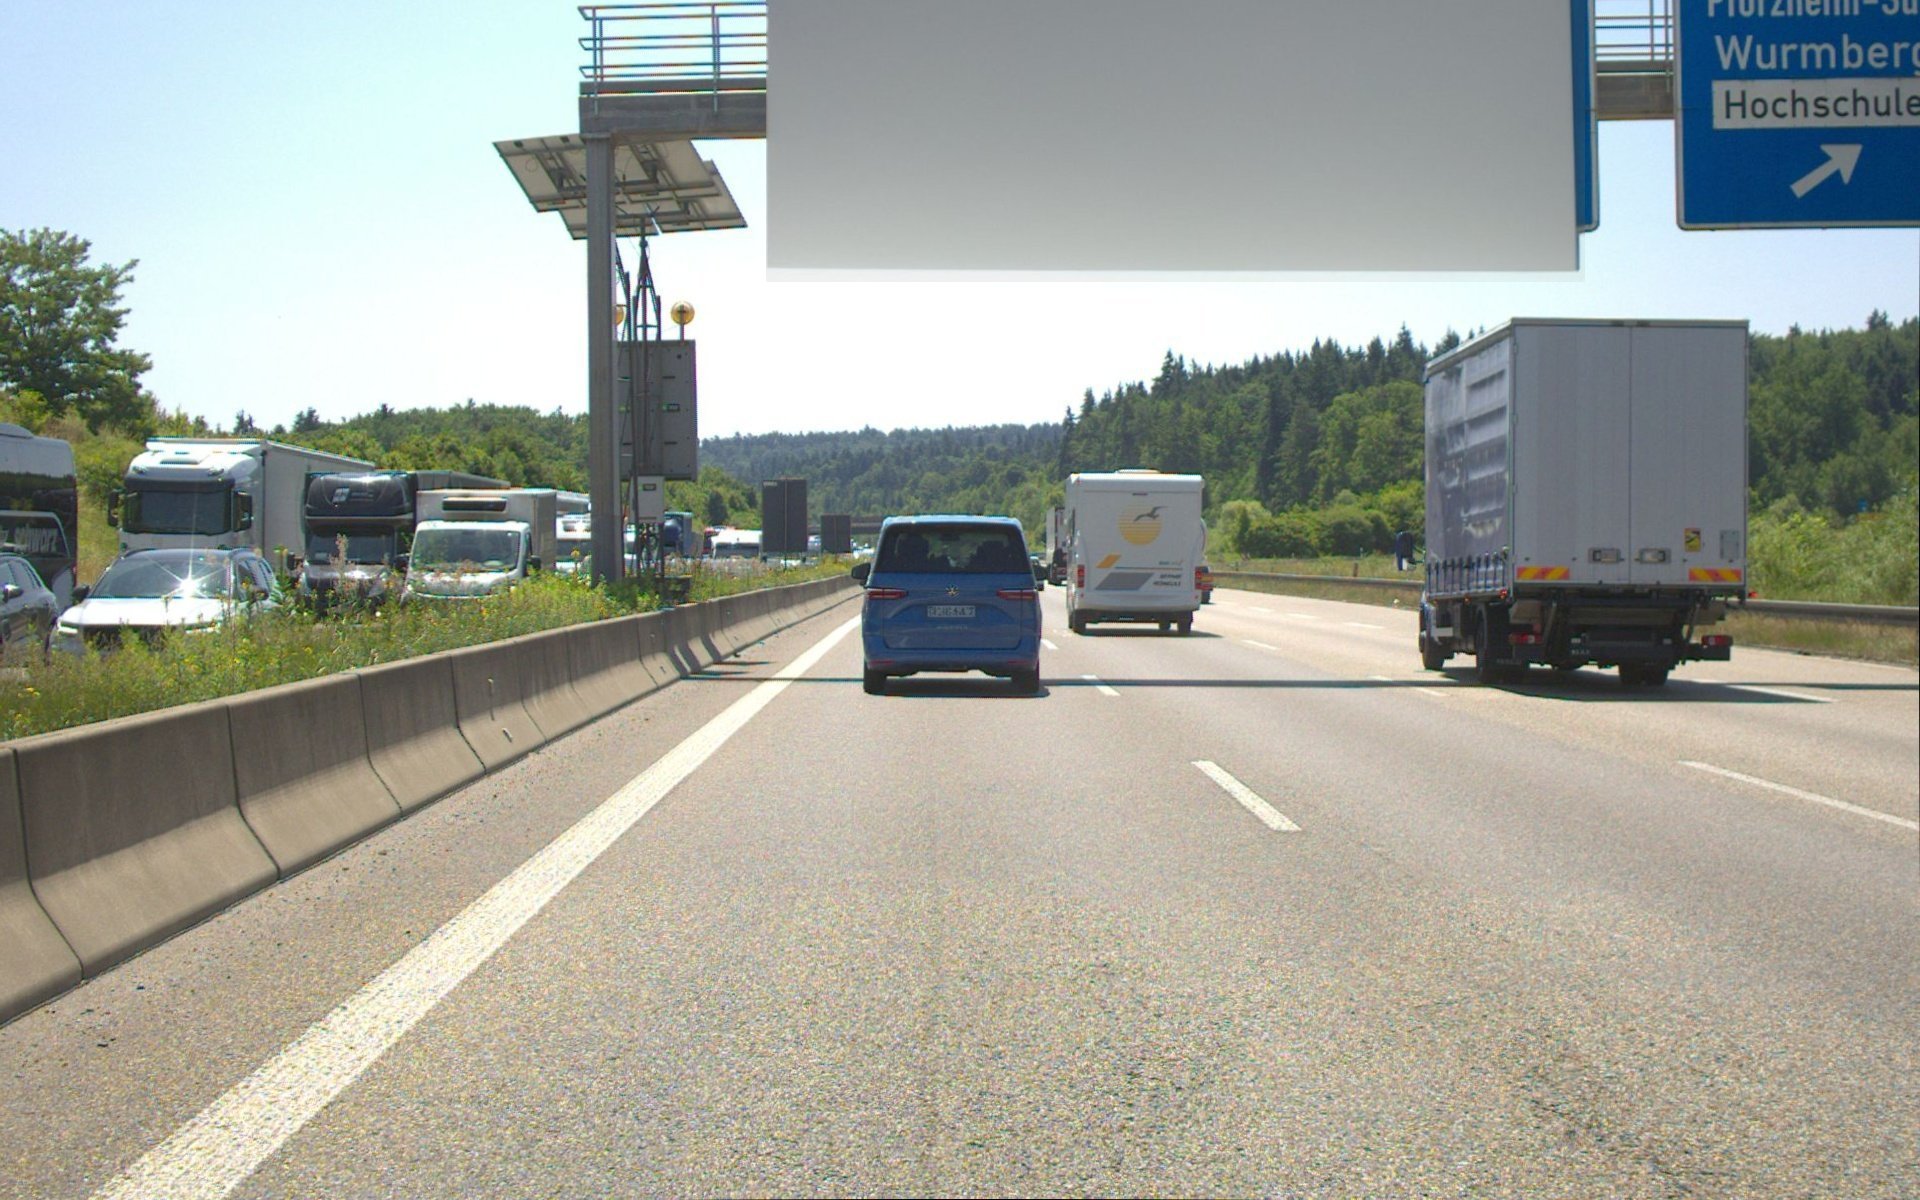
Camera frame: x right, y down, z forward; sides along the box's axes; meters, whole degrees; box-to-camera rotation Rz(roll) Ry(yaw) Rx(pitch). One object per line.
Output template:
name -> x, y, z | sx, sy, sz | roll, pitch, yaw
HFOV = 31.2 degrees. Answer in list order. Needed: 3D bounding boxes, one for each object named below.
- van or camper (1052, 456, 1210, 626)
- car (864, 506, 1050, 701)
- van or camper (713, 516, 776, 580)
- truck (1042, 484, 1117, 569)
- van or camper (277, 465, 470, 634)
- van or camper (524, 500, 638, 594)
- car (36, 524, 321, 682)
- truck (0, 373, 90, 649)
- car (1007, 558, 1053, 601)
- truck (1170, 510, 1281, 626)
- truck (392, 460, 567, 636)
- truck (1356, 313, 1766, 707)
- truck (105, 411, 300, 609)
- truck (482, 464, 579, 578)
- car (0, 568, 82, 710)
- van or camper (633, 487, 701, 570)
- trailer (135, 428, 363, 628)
van or camper -> 3.216, -1.167, 66.283 | 2.603, 3.068, 7.182 | 1, 1, 0
car -> -0.056, 0.026, 37.429 | 1.909, 2.007, 4.000 | 0, 0, -1
van or camper -> -8.713, -2.075, 139.498 | 2.193, 2.532, 6.417 | 0, 0, -1
truck -> 6.102, -3.740, 177.478 | 3.487, 4.156, 8.642 | 1, 0, 0
van or camper -> -12.289, -1.027, 72.676 | 2.529, 3.348, 7.943 | 1, 0, 1
van or camper -> -12.462, -1.712, 113.705 | 2.841, 2.938, 8.113 | 1, 0, 0
car -> -8.053, 0.022, 35.883 | 1.811, 1.508, 5.030 | 1, 0, 0
truck -> -16.146, -1.375, 52.076 | 3.056, 4.207, 11.488 | 1, 0, 0
car -> 2.982, -0.861, 146.629 | 1.818, 1.788, 3.894 | 1, 0, 0
truck -> 8.523, -1.090, 111.297 | 2.928, 3.563, 8.526 | -1, 1, 0
truck -> -8.165, -0.856, 58.992 | 2.120, 2.832, 6.212 | 1, 0, 0
truck -> 6.904, -0.968, 41.160 | 2.783, 4.114, 9.741 | 1, 0, -2
truck -> -16.396, -1.887, 74.855 | 2.781, 4.100, 7.029 | 0, 0, -1
truck -> -16.063, -2.914, 128.877 | 2.801, 4.113, 6.141 | 1, 0, 0
car -> -11.738, 0.422, 40.194 | 1.775, 1.607, 4.558 | 1, 0, 0
van or camper -> -12.392, -3.002, 146.056 | 2.312, 3.378, 7.680 | 0, 0, -1
trailer -> -16.337, -1.565, 79.892 | 2.781, 4.290, 11.710 | 0, 0, 0
